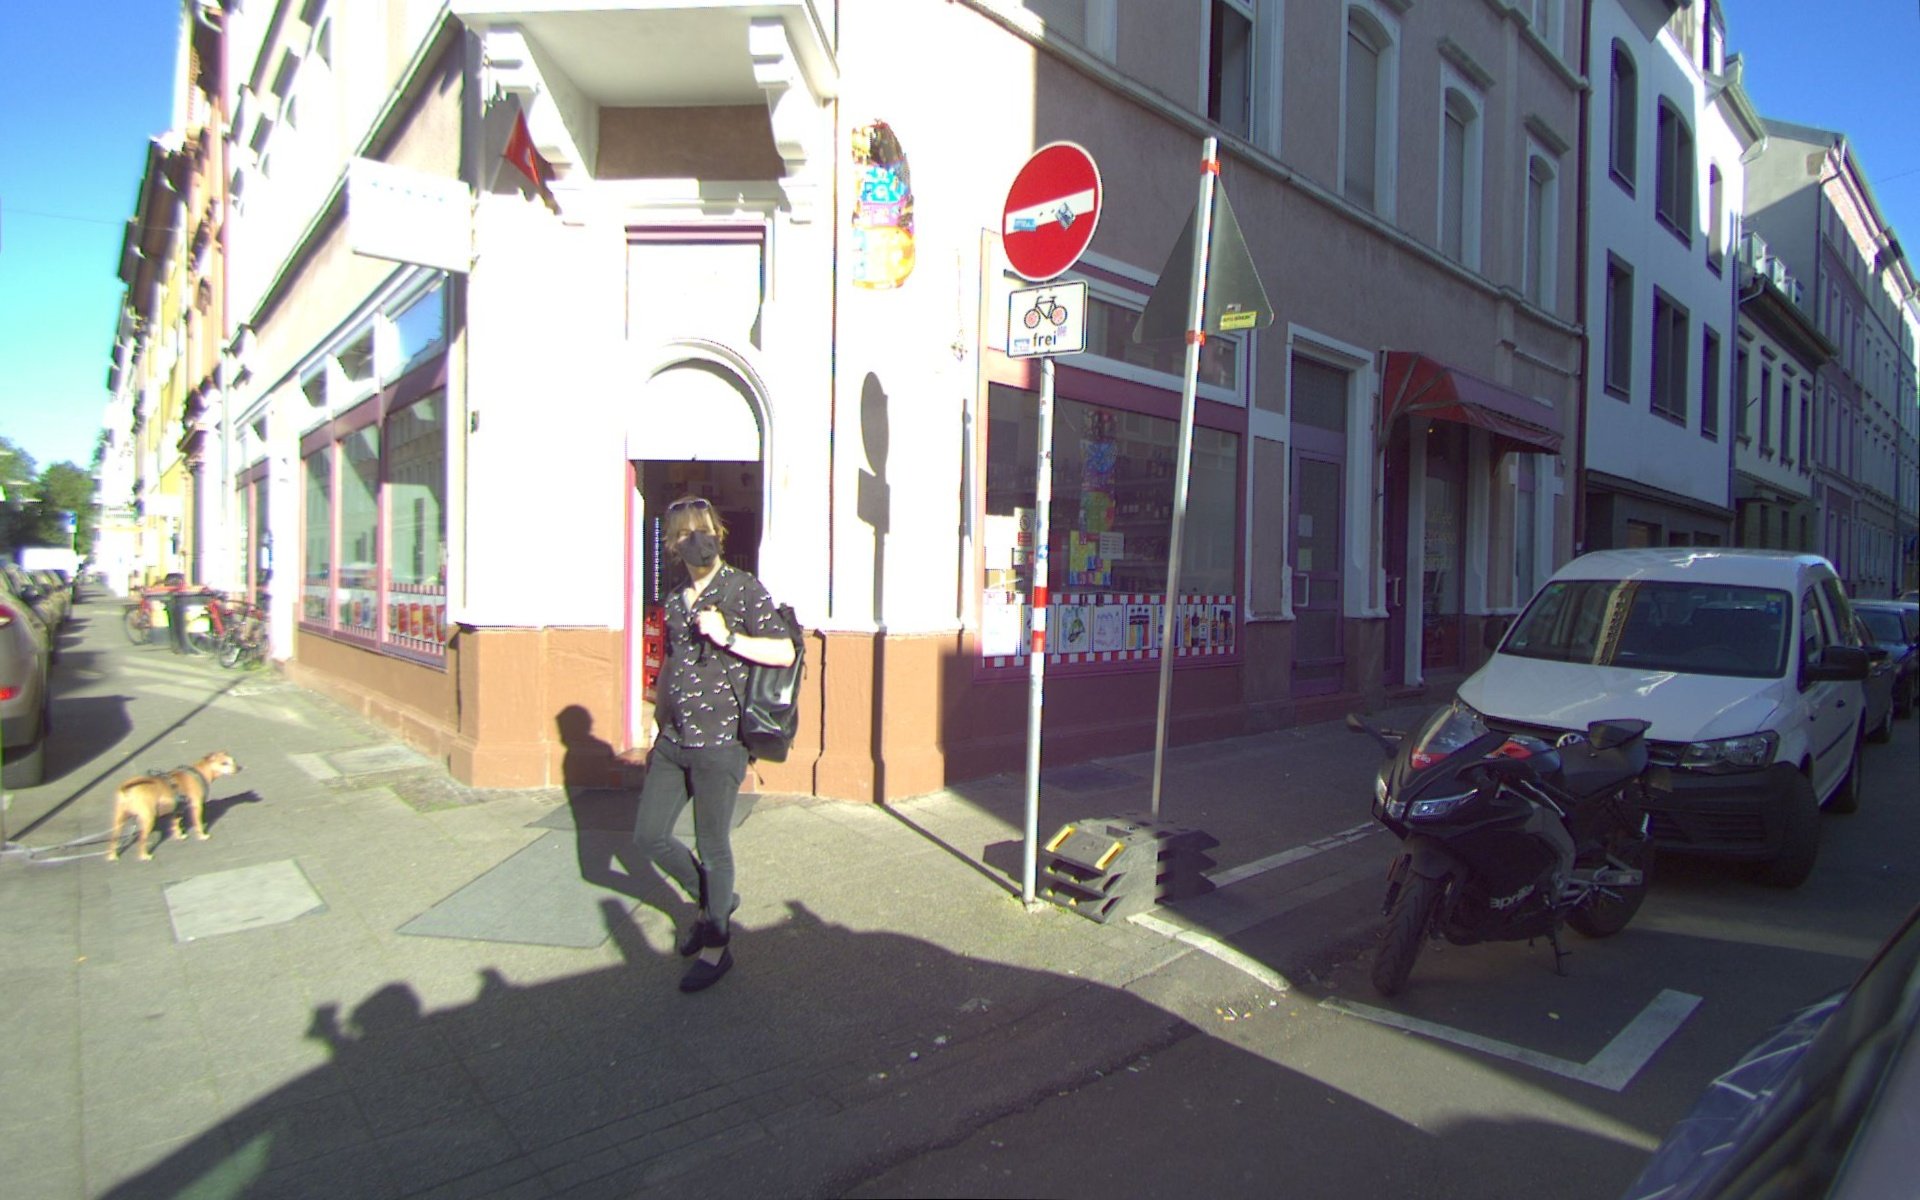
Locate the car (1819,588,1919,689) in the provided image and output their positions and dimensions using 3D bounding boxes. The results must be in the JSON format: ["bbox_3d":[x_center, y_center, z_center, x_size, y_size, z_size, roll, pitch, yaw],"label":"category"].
[{"bbox_3d":[16.110,0.590,17.350,3.708,1.522,1.619,-1,3,-42],"label":"car"}]

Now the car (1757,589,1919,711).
[{"bbox_3d":[12.760,0.601,14.294,3.816,1.413,1.734,-1,3,-42],"label":"car"}]

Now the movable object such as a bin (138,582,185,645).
[{"bbox_3d":[-14.814,0.240,18.777,0.655,1.147,0.671,0,0,-41],"label":"movable object such as a bin"}]

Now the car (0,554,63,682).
[{"bbox_3d":[-13.190,0.221,13.482,1.722,1.531,3.910,-4,4,-41],"label":"car"}]

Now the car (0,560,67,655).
[{"bbox_3d":[-17.094,0.117,17.977,1.722,1.531,3.910,-4,4,-41],"label":"car"}]

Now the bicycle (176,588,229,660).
[{"bbox_3d":[-11.387,0.343,15.203,0.448,1.022,1.641,0,0,-43],"label":"bicycle"}]

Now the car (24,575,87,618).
[{"bbox_3d":[-35.887,-0.176,40.217,1.722,1.531,3.910,-4,4,-41],"label":"car"}]

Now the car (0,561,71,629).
[{"bbox_3d":[-23.300,-0.148,25.130,1.722,1.531,3.910,-4,4,-41],"label":"car"}]

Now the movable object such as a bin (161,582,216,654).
[{"bbox_3d":[-12.406,0.274,16.269,0.655,1.130,0.716,0,0,-40],"label":"movable object such as a bin"}]

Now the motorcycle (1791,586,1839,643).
[{"bbox_3d":[21.925,0.356,25.946,2.003,1.414,0.696,-1,0,-43],"label":"motorcycle"}]

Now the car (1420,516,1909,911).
[{"bbox_3d":[4.922,0.465,6.799,4.296,1.839,1.751,-1,3,-42],"label":"car"}]

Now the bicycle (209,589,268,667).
[{"bbox_3d":[-10.024,0.362,14.039,0.448,1.022,1.641,0,1,-43],"label":"bicycle"}]

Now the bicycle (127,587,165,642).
[{"bbox_3d":[-15.762,0.265,19.583,0.448,1.022,1.641,0,0,-43],"label":"bicycle"}]

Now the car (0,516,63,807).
[{"bbox_3d":[-7.337,0.356,6.808,1.824,1.652,4.066,-3,3,-41],"label":"car"}]

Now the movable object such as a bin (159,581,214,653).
[{"bbox_3d":[-12.975,0.268,16.972,0.669,1.172,0.568,0,0,-44],"label":"movable object such as a bin"}]

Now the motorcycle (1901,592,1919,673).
[{"bbox_3d":[19.193,0.629,19.748,2.229,1.507,0.989,-1,3,-42],"label":"motorcycle"}]

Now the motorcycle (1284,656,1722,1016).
[{"bbox_3d":[2.339,0.856,4.283,1.957,1.099,0.722,-1,2,-31],"label":"motorcycle"}]

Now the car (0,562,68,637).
[{"bbox_3d":[-20.622,-0.018,21.996,1.722,1.470,3.910,-4,4,-41],"label":"car"}]

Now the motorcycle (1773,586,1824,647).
[{"bbox_3d":[20.298,0.382,24.482,2.003,1.414,0.666,-1,0,-43],"label":"motorcycle"}]

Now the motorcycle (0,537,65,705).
[{"bbox_3d":[-9.897,0.211,9.681,0.834,1.670,2.339,0,0,-7],"label":"motorcycle"}]

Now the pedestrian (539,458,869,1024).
[{"bbox_3d":[-0.910,0.424,3.817,0.816,1.814,0.986,3,3,13],"label":"pedestrian"}]

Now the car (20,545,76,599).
[{"bbox_3d":[-44.019,-1.344,48.910,1.814,2.461,3.910,-4,3,-41],"label":"car"}]

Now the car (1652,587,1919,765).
[{"bbox_3d":[8.620,0.619,10.414,3.816,1.425,1.611,-1,3,-42],"label":"car"}]

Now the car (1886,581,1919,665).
[{"bbox_3d":[22.037,0.488,22.513,4.333,1.752,1.712,-1,3,-43],"label":"car"}]
